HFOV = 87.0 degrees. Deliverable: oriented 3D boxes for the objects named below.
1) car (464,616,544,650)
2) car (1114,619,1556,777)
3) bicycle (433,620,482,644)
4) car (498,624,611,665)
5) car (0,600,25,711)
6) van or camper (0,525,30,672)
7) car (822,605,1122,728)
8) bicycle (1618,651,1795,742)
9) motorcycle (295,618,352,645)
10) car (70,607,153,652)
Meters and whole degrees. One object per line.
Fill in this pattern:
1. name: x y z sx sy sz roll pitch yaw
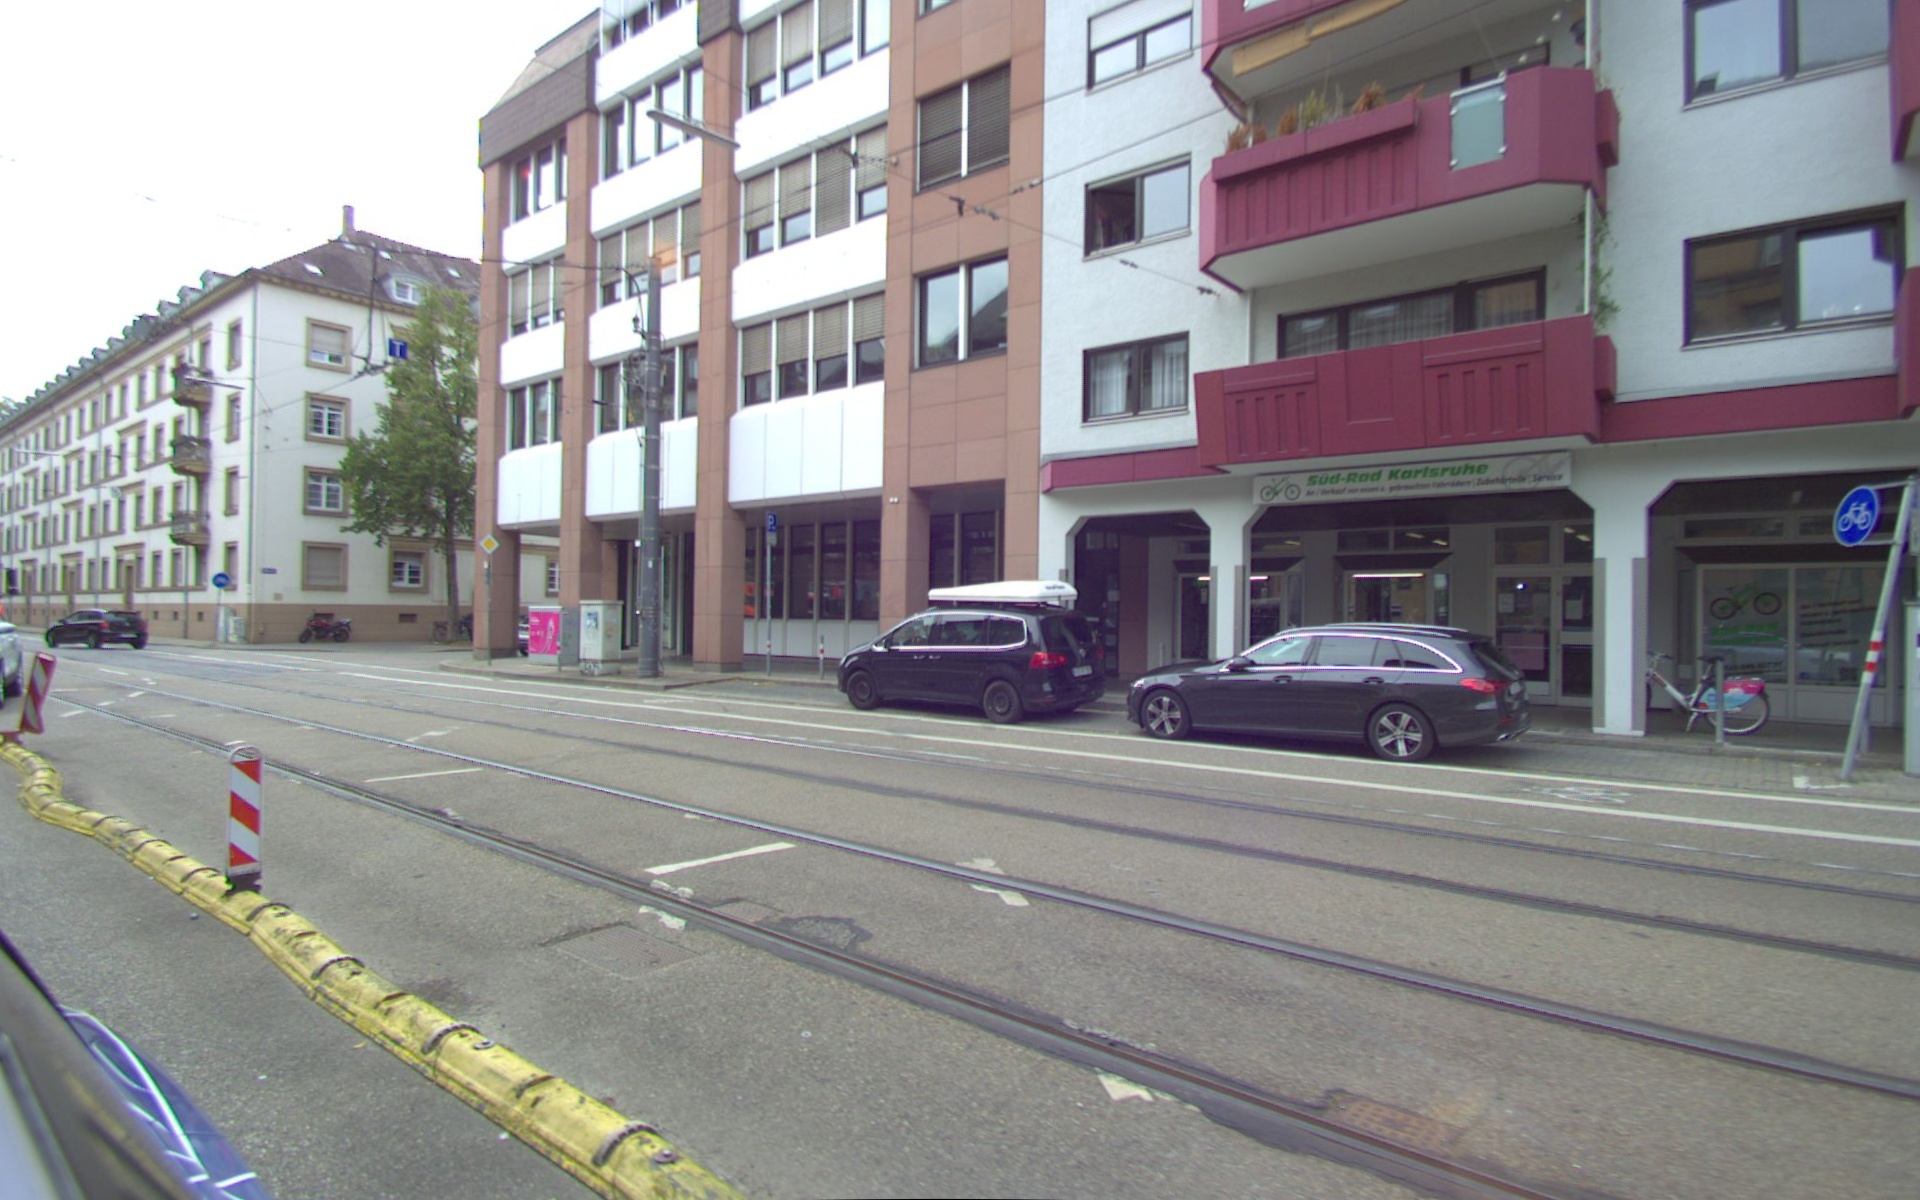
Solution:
1. car: -20.117 1.418 44.568 3.870 1.407 1.591 0 -2 38
2. car: 4.333 1.007 12.188 4.694 1.491 1.737 0 0 40
3. bicycle: -23.640 1.513 47.620 0.792 1.094 1.900 -1 -2 40
4. car: -14.799 1.599 37.134 1.606 1.399 3.611 0 -2 31
5. car: -15.202 0.816 14.909 1.746 1.603 4.290 0 0 -38
6. van or camper: -26.740 -0.025 26.230 9.644 3.447 2.574 0 -2 40
7. car: 0.067 0.930 16.060 4.694 1.659 1.788 0 0 40
8. bicycle: 8.774 1.108 11.975 1.645 0.960 0.559 0 -2 34
9. motorcycle: -27.151 1.349 43.171 0.792 1.094 1.900 -1 -2 40
10. car: -31.228 1.056 37.218 4.047 1.549 1.750 -1 0 41
